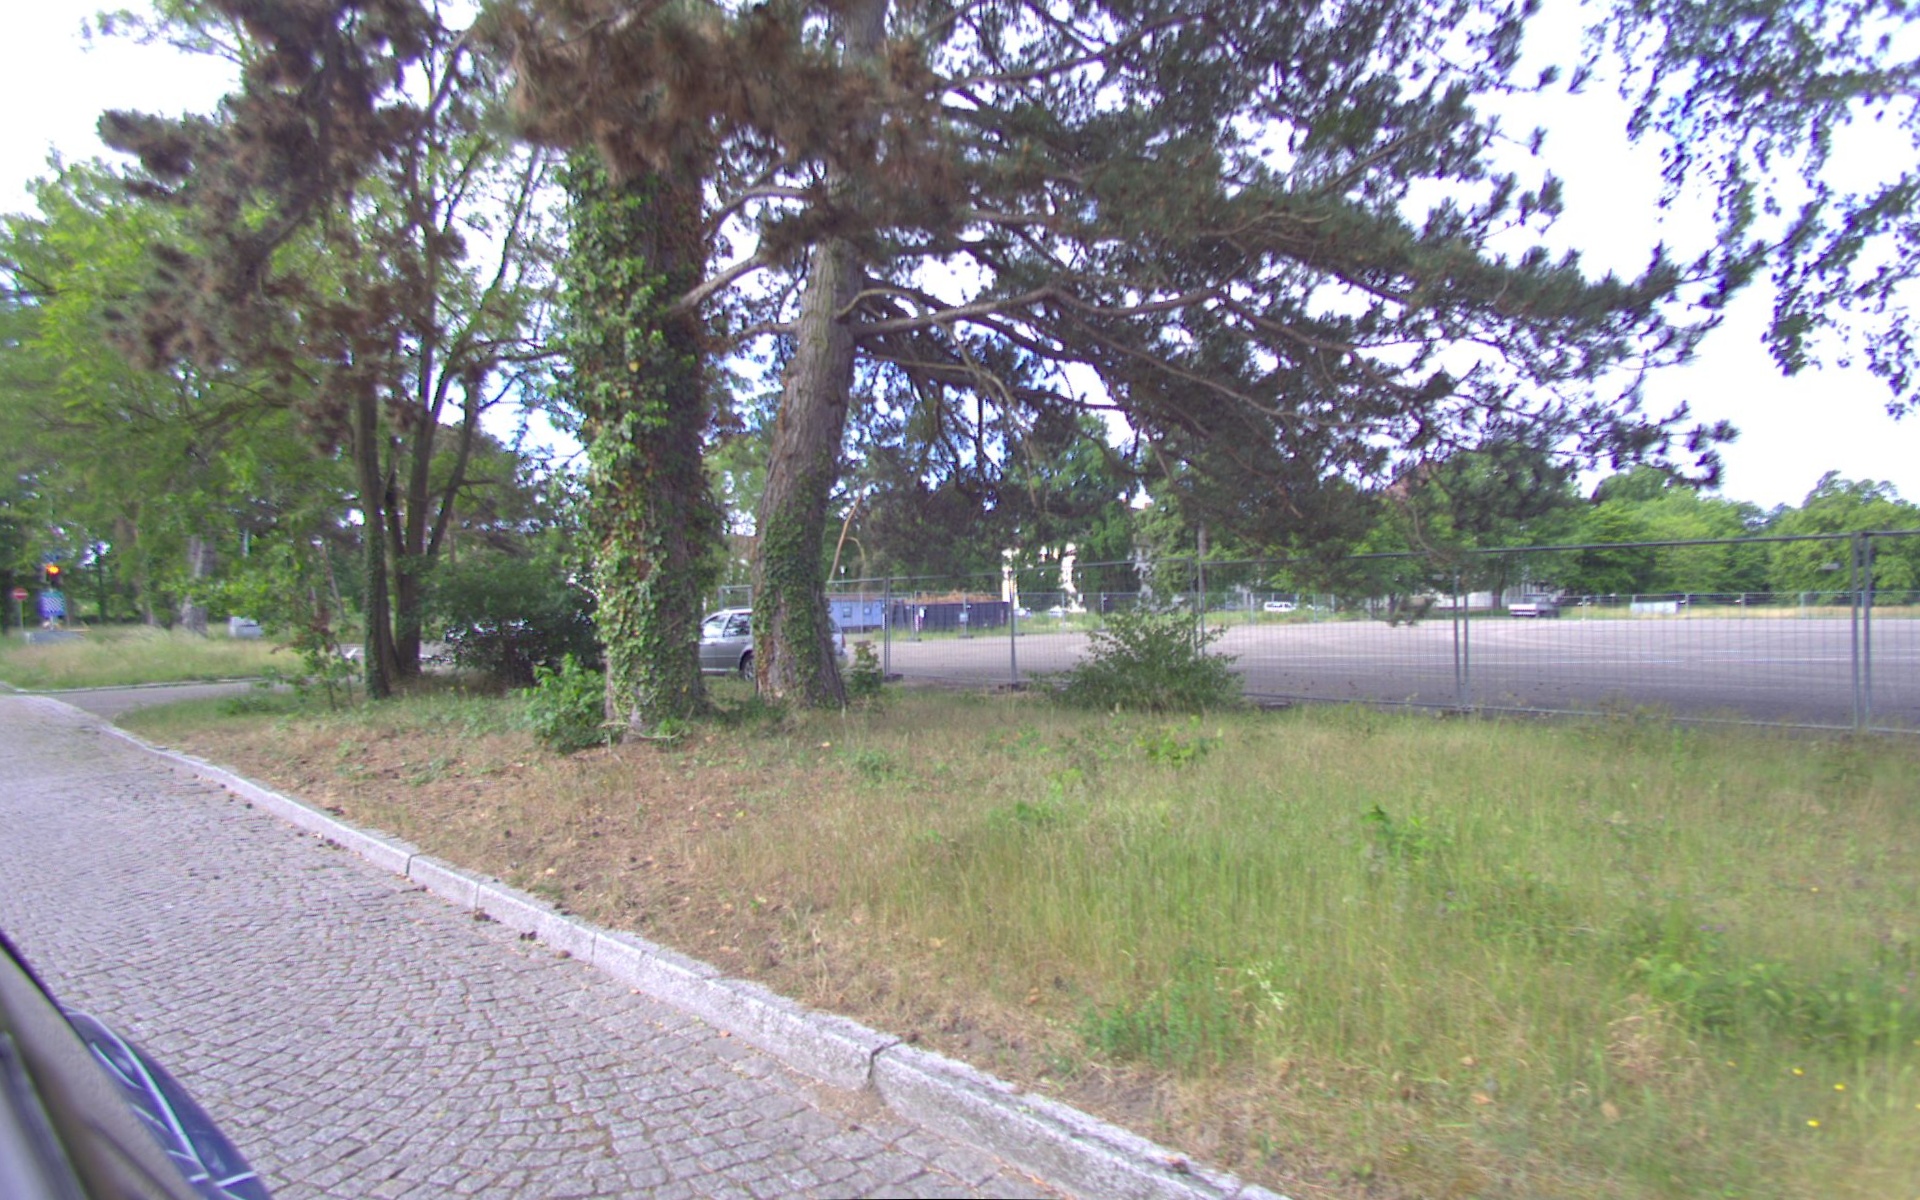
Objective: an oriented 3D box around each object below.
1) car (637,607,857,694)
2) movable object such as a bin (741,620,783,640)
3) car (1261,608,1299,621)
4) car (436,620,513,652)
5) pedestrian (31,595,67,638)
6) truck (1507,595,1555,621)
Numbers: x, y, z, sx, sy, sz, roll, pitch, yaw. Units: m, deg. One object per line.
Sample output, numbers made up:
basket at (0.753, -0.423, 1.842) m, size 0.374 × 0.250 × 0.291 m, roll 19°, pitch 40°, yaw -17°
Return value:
car at (-4.129, 0.912, 19.194) m, size 4.463 × 1.449 × 1.698 m, roll -2°, pitch -1°, yaw 40°
movable object such as a bin at (-9.851, 1.501, 50.414) m, size 1.931 × 0.940 × 1.029 m, roll -2°, pitch -2°, yaw 35°
car at (44.364, 2.011, 140.281) m, size 4.580 × 1.645 × 1.816 m, roll -2°, pitch -1°, yaw 40°
car at (-24.998, 1.847, 52.074) m, size 4.651 × 1.461 × 1.816 m, roll -4°, pitch -3°, yaw 40°
pedestrian at (-33.264, 0.611, 36.968) m, size 0.869 × 1.529 × 0.824 m, roll 0°, pitch -1°, yaw -34°
truck at (51.057, 0.677, 90.451) m, size 2.373 × 2.215 × 6.465 m, roll -2°, pitch -1°, yaw 41°
